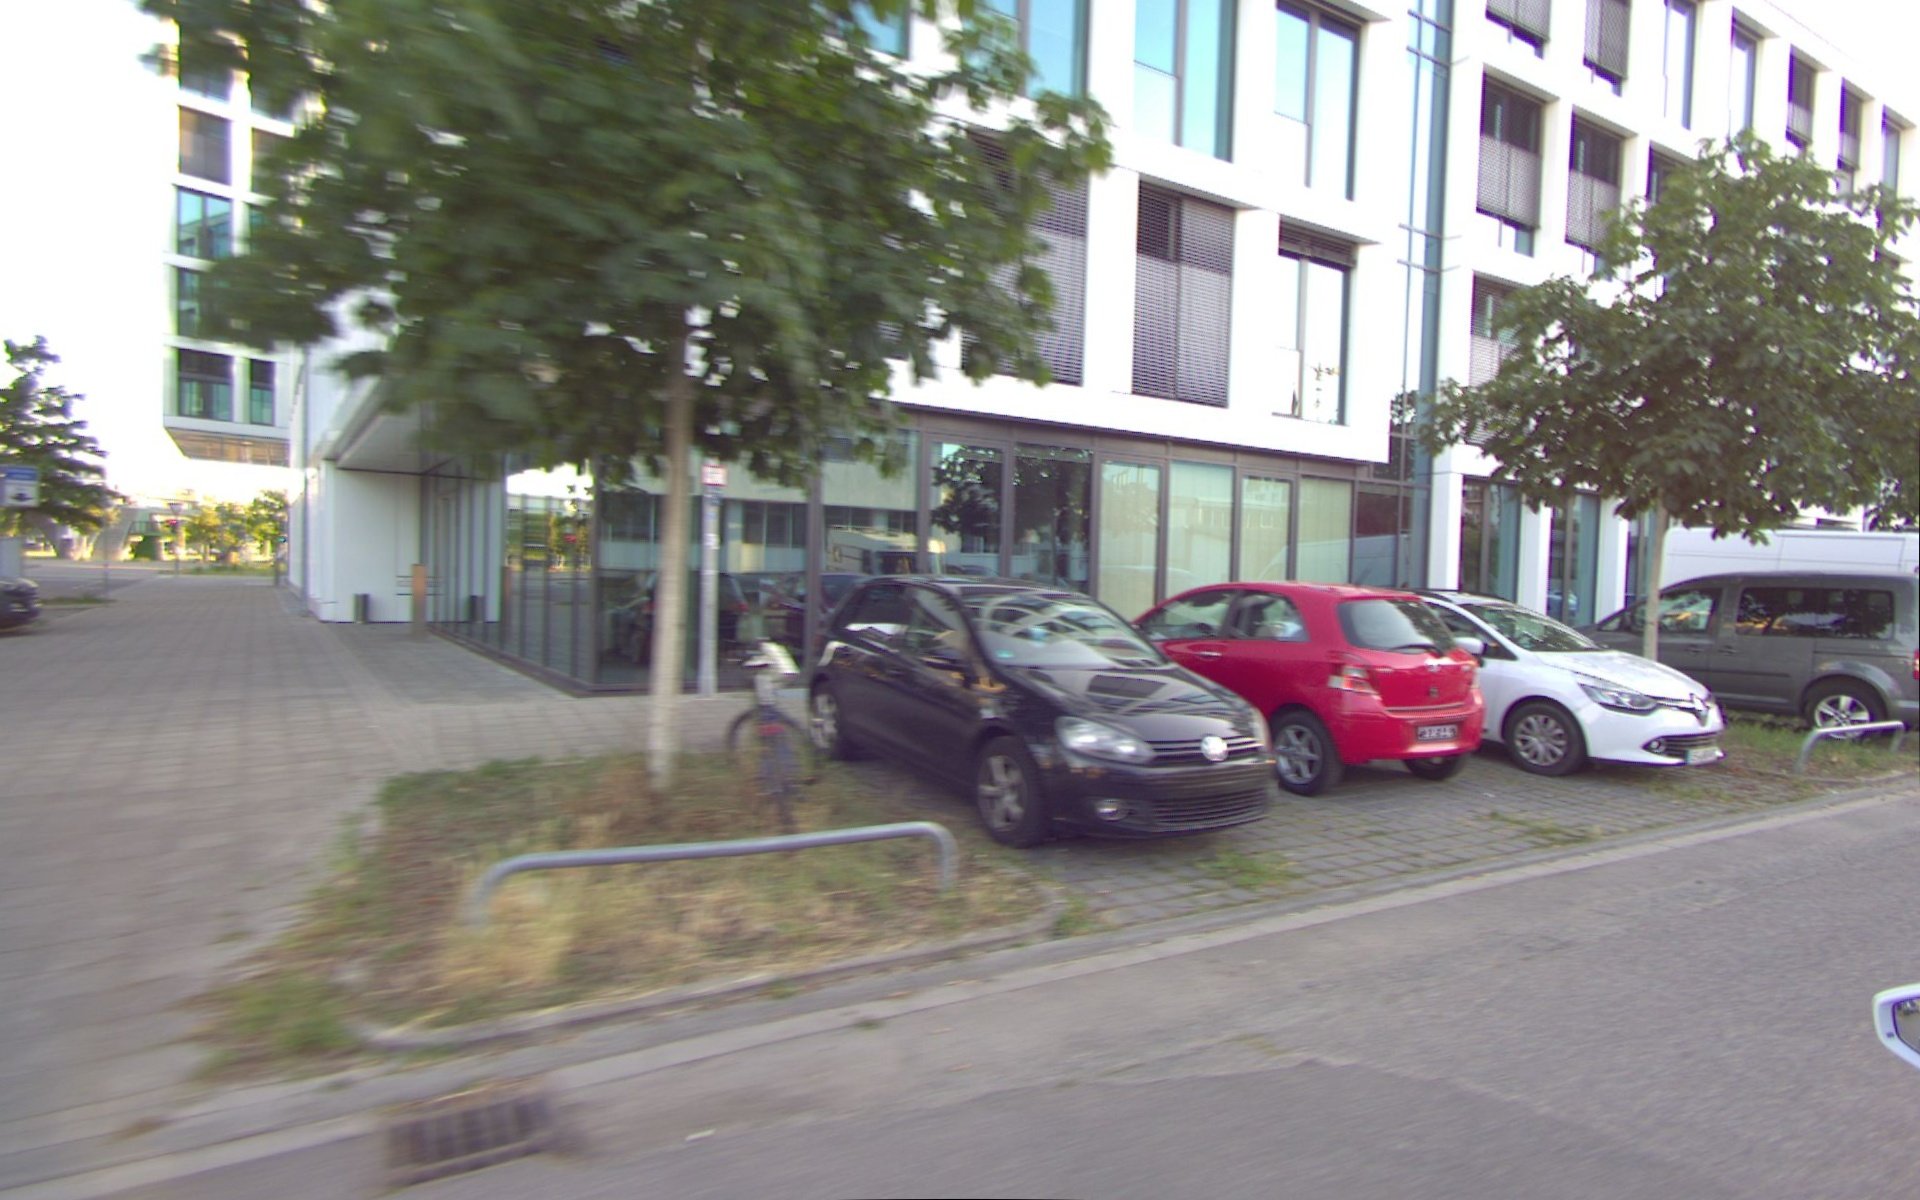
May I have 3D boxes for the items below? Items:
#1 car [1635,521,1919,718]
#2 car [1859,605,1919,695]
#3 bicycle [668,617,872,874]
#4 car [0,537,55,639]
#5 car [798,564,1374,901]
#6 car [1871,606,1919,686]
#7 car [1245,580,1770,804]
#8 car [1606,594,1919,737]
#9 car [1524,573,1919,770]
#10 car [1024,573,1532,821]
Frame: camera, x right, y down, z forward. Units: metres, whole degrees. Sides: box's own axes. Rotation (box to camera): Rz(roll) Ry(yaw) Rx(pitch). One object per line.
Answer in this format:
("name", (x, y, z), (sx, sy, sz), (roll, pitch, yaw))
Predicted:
("car", (13.504, 0.229, 14.894), (2.053, 2.668, 5.356), (1, 3, -29))
("car", (17.784, 0.950, 16.814), (1.688, 1.516, 3.689), (1, 3, -30))
("bicycle", (-1.104, 0.692, 5.510), (0.560, 1.080, 1.687), (1, 3, -30))
("car", (-17.582, -0.247, 16.135), (4.330, 1.674, 1.713), (0, 3, -36))
("car", (0.521, 0.592, 7.058), (1.824, 1.539, 4.085), (1, 3, -32))
("car", (19.931, 0.989, 18.493), (1.773, 1.516, 4.288), (1, 3, -29))
("car", (4.948, 0.665, 9.712), (1.760, 1.539, 4.086), (1, 3, -31))
("car", (11.258, 0.782, 13.372), (1.756, 1.520, 4.081), (1, 3, -34))
("car", (9.308, 0.684, 11.969), (1.797, 1.841, 4.081), (1, 3, -34))
("car", (2.486, 0.610, 8.901), (1.824, 1.539, 4.086), (1, 3, -31))
